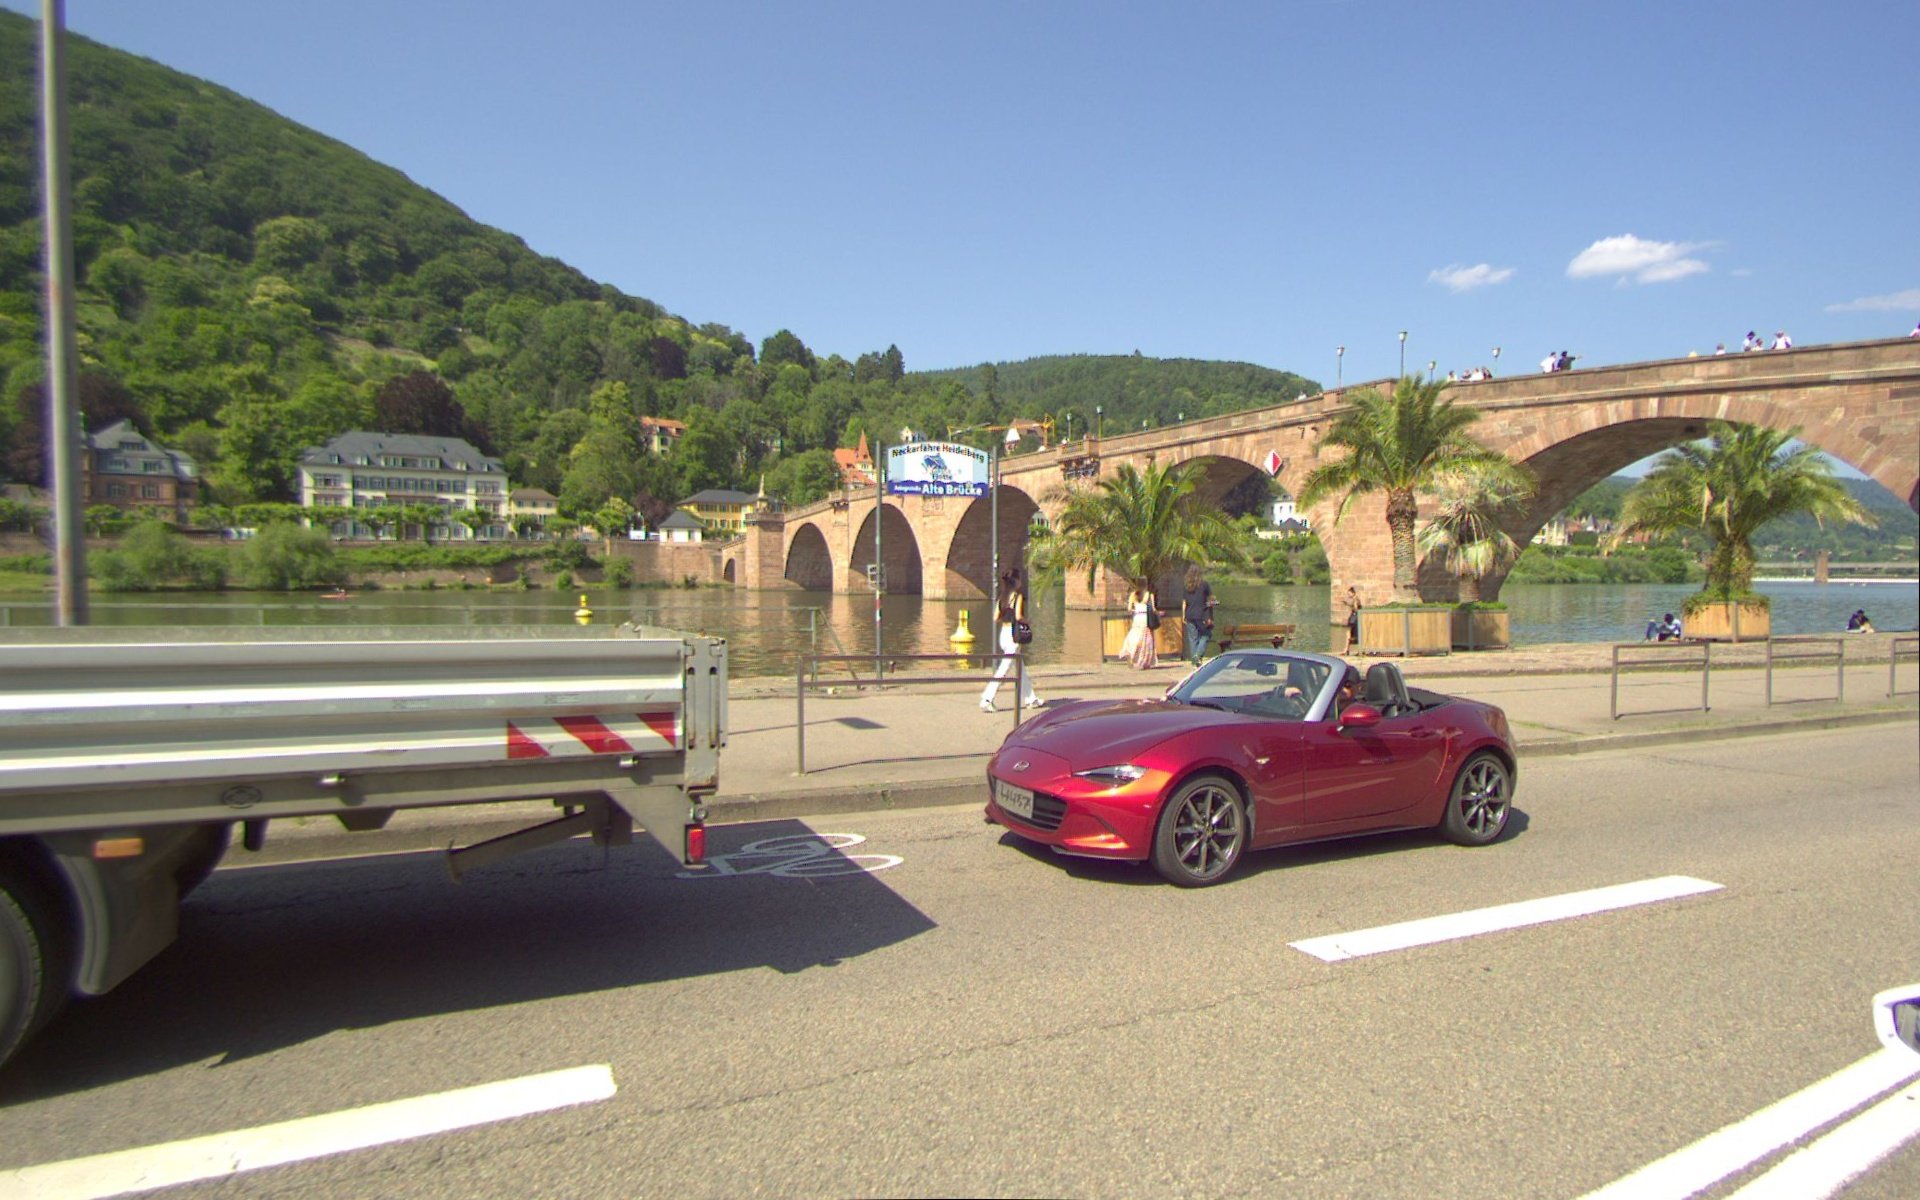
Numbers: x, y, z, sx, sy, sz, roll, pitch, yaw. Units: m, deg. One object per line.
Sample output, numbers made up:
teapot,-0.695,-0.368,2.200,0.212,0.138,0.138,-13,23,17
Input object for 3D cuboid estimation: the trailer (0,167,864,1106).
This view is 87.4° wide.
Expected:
trailer,-4.026,0.097,3.574,6.852,2.564,2.690,1,-1,-25

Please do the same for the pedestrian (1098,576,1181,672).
pedestrian,3.012,0.416,16.889,1.101,1.554,0.791,0,-3,-27

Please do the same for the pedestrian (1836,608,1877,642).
pedestrian,34.004,0.955,38.107,1.129,1.257,0.724,0,1,-24

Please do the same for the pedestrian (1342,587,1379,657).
pedestrian,9.596,0.513,24.081,0.669,1.623,0.592,2,2,38

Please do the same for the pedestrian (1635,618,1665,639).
pedestrian,19.108,0.783,27.830,0.506,0.571,0.463,0,-3,-18

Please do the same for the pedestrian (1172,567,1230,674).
pedestrian,3.988,0.312,16.577,0.781,1.714,0.845,1,2,24

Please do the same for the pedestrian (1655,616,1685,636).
pedestrian,20.142,0.737,28.510,0.506,0.571,0.463,0,-3,-18

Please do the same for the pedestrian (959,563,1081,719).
pedestrian,0.691,0.446,11.699,1.136,1.724,0.813,0,1,-27

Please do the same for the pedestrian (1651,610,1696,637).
pedestrian,20.374,0.666,28.695,0.699,0.753,0.786,0,2,-17

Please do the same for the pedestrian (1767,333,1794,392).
pedestrian,31.046,-8.969,37.995,0.688,2.041,0.619,0,1,-34

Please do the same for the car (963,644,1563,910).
car,1.981,0.935,6.483,3.582,1.210,1.665,0,-1,-27

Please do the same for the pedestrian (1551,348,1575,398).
pedestrian,26.902,-10.109,44.782,0.618,2.041,0.689,0,1,-31

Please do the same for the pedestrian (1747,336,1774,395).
pedestrian,30.629,-8.974,38.452,0.688,2.041,0.619,0,1,-34
